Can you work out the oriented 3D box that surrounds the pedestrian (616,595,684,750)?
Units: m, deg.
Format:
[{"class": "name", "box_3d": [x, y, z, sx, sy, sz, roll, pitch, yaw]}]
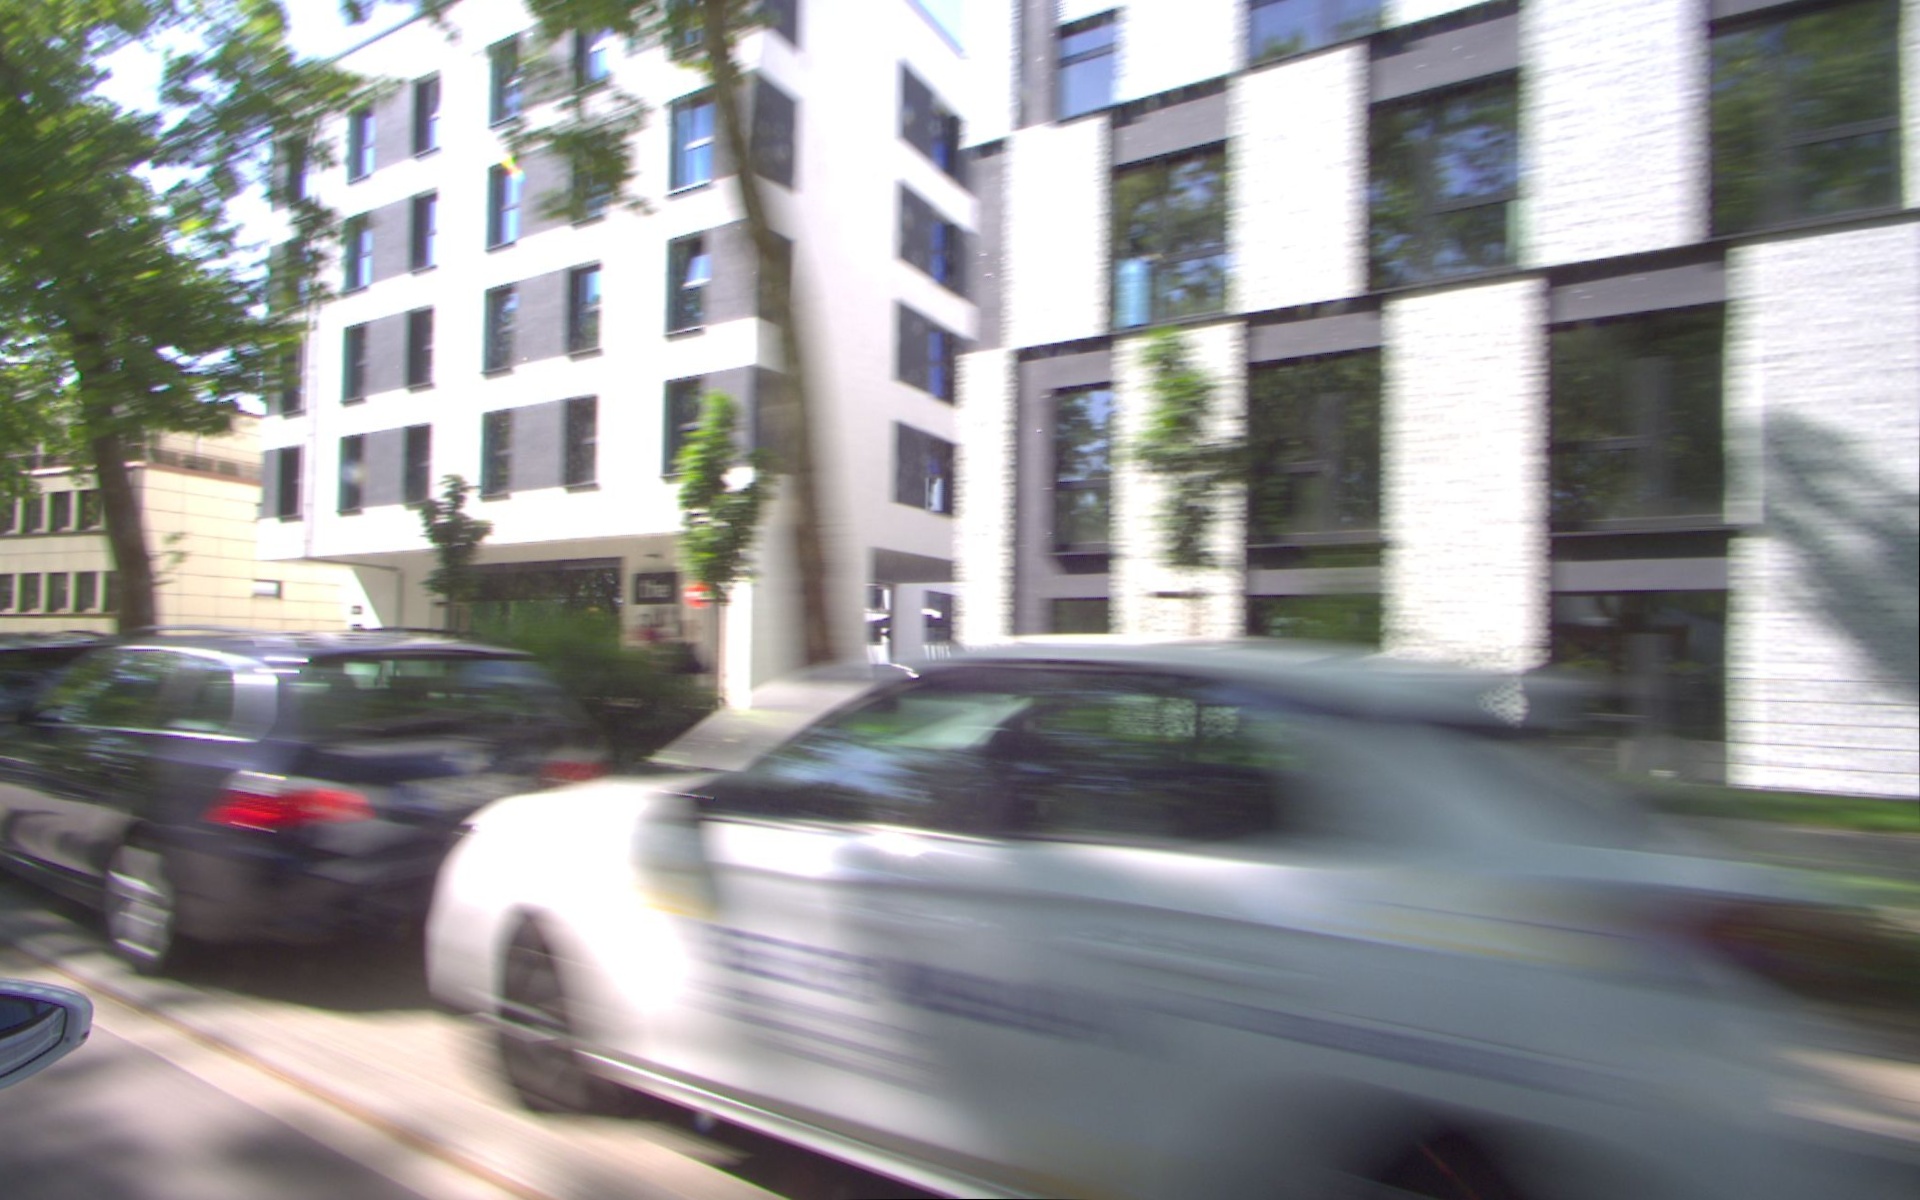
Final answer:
[{"class": "pedestrian", "box_3d": [-3.772, 0.866, 12.179, 0.628, 1.831, 0.475, 0, -2, 32]}]

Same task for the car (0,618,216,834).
[{"class": "car", "box_3d": [-8.376, 0.920, 8.524, 4.418, 1.506, 1.705, -1, -2, 31]}]

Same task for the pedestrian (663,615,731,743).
[{"class": "pedestrian", "box_3d": [-3.392, 1.002, 12.936, 0.562, 1.601, 0.612, 0, -2, 32]}]

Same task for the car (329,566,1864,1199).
[{"class": "car", "box_3d": [-0.057, 0.767, 3.133, 4.043, 1.506, 1.704, -1, -2, 33]}]

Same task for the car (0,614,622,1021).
[{"class": "car", "box_3d": [-4.099, 0.848, 5.619, 4.590, 1.473, 1.704, -1, -2, 33]}]

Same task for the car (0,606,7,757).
[{"class": "car", "box_3d": [-13.059, 0.887, 11.510, 4.463, 1.690, 1.706, 0, -2, 28]}]
